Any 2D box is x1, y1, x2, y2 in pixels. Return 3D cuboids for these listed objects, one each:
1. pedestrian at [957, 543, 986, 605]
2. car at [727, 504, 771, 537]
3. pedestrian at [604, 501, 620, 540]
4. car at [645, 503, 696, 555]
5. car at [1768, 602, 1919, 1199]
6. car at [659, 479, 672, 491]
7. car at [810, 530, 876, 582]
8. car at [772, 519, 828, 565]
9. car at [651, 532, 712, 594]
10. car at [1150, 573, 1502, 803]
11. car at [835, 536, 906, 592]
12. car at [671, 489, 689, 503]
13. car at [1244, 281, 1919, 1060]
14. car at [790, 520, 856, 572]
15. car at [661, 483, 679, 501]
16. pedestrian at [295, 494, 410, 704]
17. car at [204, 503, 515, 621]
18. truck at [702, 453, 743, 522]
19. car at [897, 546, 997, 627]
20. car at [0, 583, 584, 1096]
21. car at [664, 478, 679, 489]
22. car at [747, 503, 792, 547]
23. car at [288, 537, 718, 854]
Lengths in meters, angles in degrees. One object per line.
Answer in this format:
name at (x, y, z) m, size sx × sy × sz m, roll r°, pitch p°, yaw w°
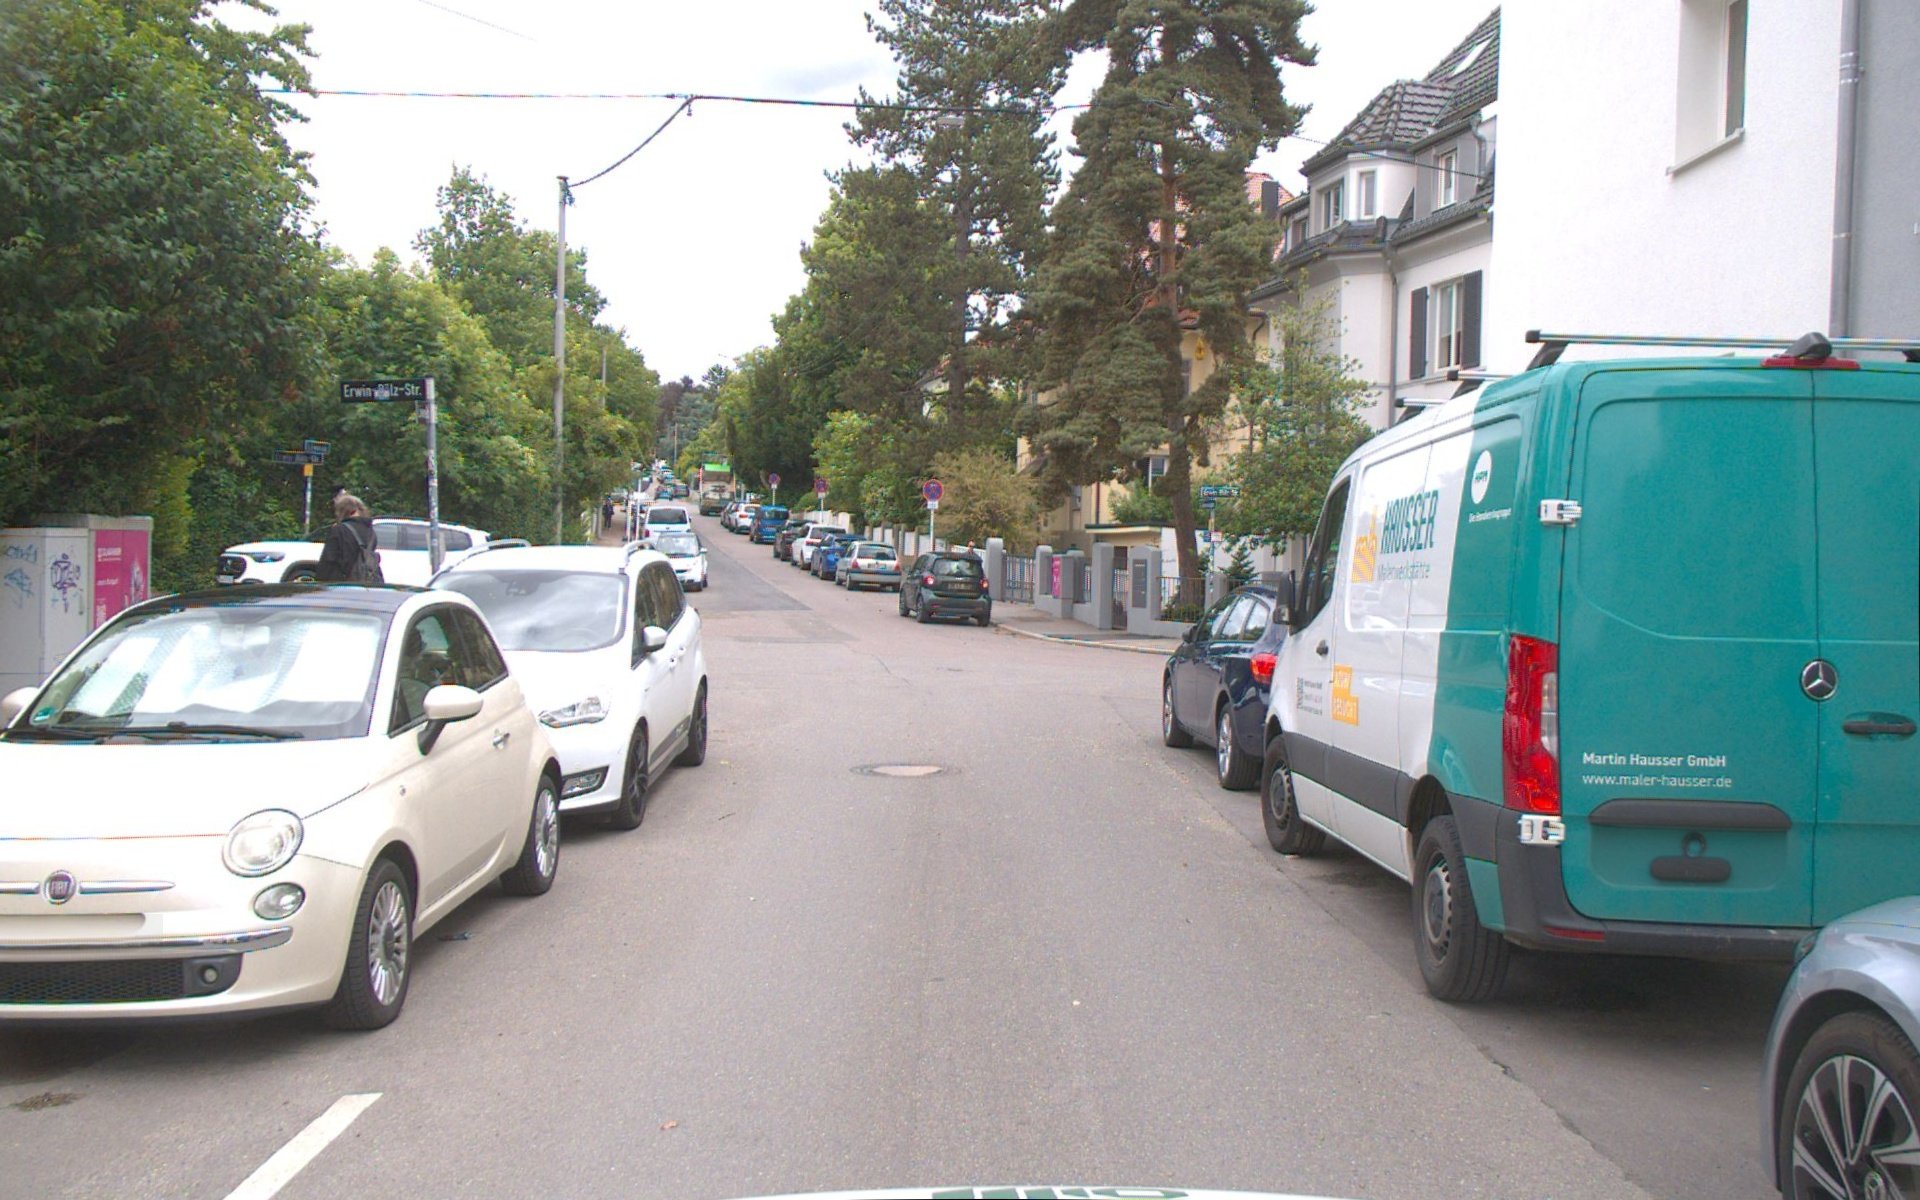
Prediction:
pedestrian at (0.300, -0.687, 43.637) m, size 0.668 × 1.604 × 0.905 m, roll -1°, pitch 2°, yaw -6°
car at (-11.619, -4.383, 90.935) m, size 1.728 × 1.633 × 4.559 m, roll 2°, pitch 4°, yaw -15°
pedestrian at (-18.649, -4.273, 88.682) m, size 0.797 × 2.048 × 0.858 m, roll 2°, pitch 4°, yaw -11°
car at (-11.468, -2.851, 65.373) m, size 1.822 × 1.946 × 4.608 m, roll -1°, pitch 4°, yaw -11°
car at (2.739, 0.784, 1.574) m, size 1.787 × 1.470 × 4.383 m, roll 2°, pitch 0°, yaw 0°
car at (-42.707, -16.667, 239.920) m, size 1.757 × 1.555 × 3.727 m, roll 2°, pitch 4°, yaw -11°
car at (-3.891, -1.471, 54.439) m, size 1.618 × 1.483 × 4.042 m, roll 2°, pitch 3°, yaw -12°
car at (-6.440, -2.334, 66.112) m, size 1.719 × 1.635 × 4.065 m, roll 3°, pitch 3°, yaw -12°
car at (-7.799, -1.059, 46.432) m, size 1.414 × 1.578 × 2.768 m, roll -2°, pitch 4°, yaw -5°
car at (2.809, 0.586, 13.707) m, size 1.782 × 1.511 × 4.285 m, roll 1°, pitch 2°, yaw -2°
car at (-2.713, -1.093, 49.522) m, size 1.546 × 1.424 × 3.647 m, roll 3°, pitch 3°, yaw -12°
car at (-32.009, -11.858, 188.910) m, size 1.748 × 1.514 × 3.989 m, roll 1°, pitch 4°, yaw -13°
car at (2.800, 0.214, 7.927) m, size 1.953 × 2.464 × 5.293 m, roll 1°, pitch 0°, yaw 0°
car at (-5.076, -2.004, 60.651) m, size 1.754 × 1.630 × 4.292 m, roll 3°, pitch 3°, yaw -13°
car at (-29.935, -11.122, 170.705) m, size 1.605 × 1.730 × 3.485 m, roll 2°, pitch 4°, yaw -13°
pedestrian at (-5.389, -0.013, 14.708) m, size 0.806 × 1.790 × 0.642 m, roll 3°, pitch 2°, yaw -14°
car at (-9.878, -0.591, 27.480) m, size 1.802 × 1.684 × 4.488 m, roll 5°, pitch 2°, yaw 41°
truck at (-17.411, -8.248, 121.042) m, size 2.479 × 4.828 × 7.171 m, roll 2°, pitch 4°, yaw -11°
car at (-0.333, -0.334, 37.505) m, size 1.545 × 1.558 × 2.858 m, roll 4°, pitch 3°, yaw -15°
car at (-2.714, 0.697, 6.706) m, size 1.574 × 1.478 × 3.613 m, roll -1°, pitch 1°, yaw -1°
car at (-40.386, -16.262, 231.335) m, size 1.779 × 1.358 × 3.623 m, roll 3°, pitch 5°, yaw -13°
car at (-9.298, -3.679, 80.499) m, size 1.653 × 1.860 × 4.146 m, roll 3°, pitch 4°, yaw -13°
car at (-2.770, 0.443, 11.001) m, size 1.767 × 1.688 × 4.151 m, roll 1°, pitch 2°, yaw -1°
